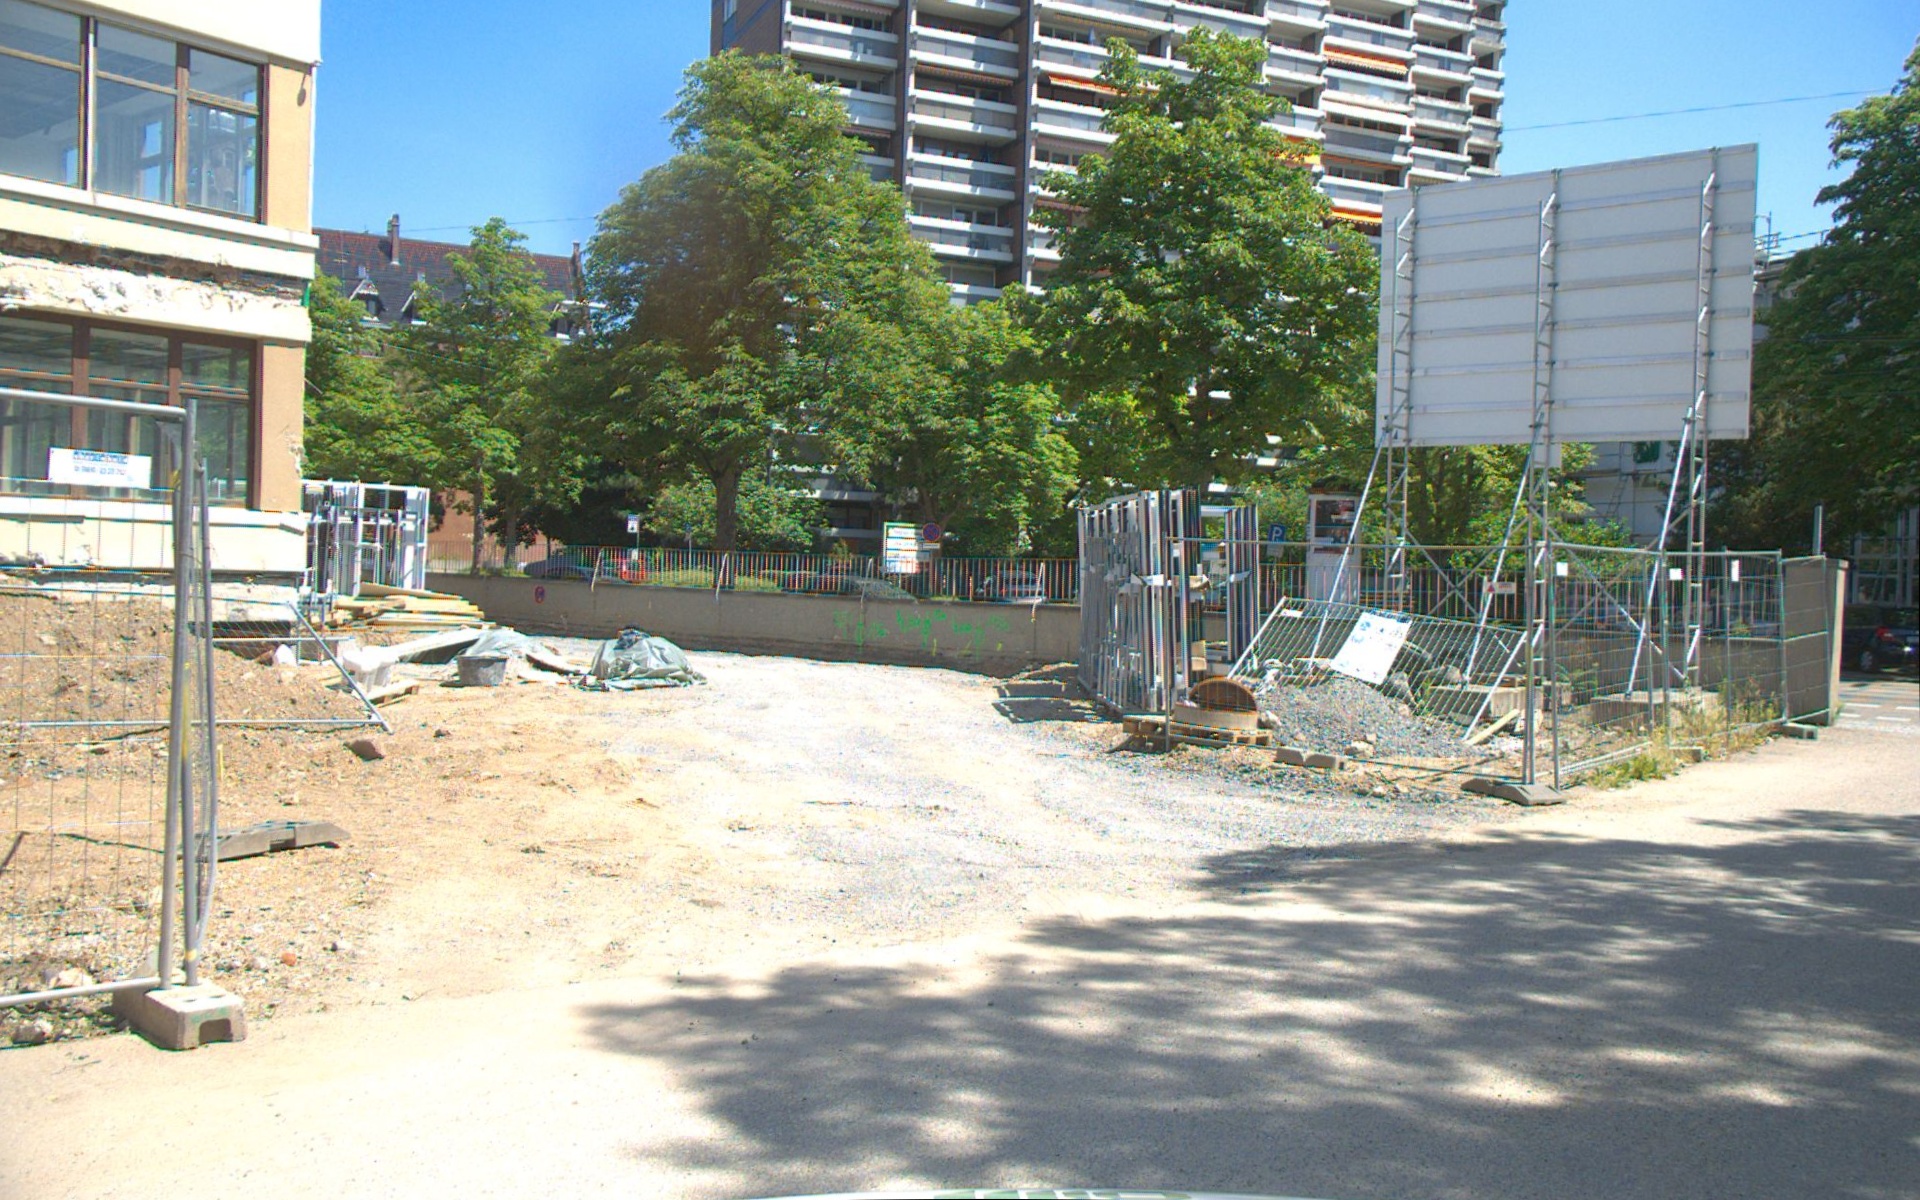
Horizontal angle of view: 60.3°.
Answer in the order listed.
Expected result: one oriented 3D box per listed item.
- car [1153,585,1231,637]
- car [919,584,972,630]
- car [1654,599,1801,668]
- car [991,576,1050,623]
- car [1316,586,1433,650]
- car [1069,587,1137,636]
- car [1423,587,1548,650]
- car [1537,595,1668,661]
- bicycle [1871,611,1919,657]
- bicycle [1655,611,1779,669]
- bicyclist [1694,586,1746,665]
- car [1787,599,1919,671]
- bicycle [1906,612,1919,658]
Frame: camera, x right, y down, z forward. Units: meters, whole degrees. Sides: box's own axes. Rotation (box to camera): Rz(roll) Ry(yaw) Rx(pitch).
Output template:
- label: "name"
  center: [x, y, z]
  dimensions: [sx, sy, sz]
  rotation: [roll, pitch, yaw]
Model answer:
- label: "car"
  center: [6.770, 0.298, 48.583]
  dimensions: [1.600, 1.411, 3.676]
  rotation: [1, 0, -2]
- label: "car"
  center: [-0.498, 0.218, 54.004]
  dimensions: [1.600, 1.411, 3.676]
  rotation: [1, 0, -2]
- label: "car"
  center: [18.215, 0.762, 39.435]
  dimensions: [1.601, 1.489, 3.675]
  rotation: [1, 0, -4]
- label: "car"
  center: [1.919, -0.040, 53.175]
  dimensions: [1.600, 1.411, 3.676]
  rotation: [1, 0, -2]
- label: "car"
  center: [10.450, 0.421, 41.975]
  dimensions: [1.602, 1.489, 3.671]
  rotation: [1, 0, -8]
- label: "car"
  center: [4.375, 0.332, 50.922]
  dimensions: [1.600, 1.411, 3.676]
  rotation: [1, 0, -2]
- label: "car"
  center: [13.323, 0.432, 42.139]
  dimensions: [1.602, 1.489, 3.671]
  rotation: [1, 0, -8]
- label: "car"
  center: [15.838, 0.662, 40.946]
  dimensions: [1.601, 1.489, 3.675]
  rotation: [1, 0, -4]
- label: "bicycle"
  center: [25.566, 0.918, 44.405]
  dimensions: [2.349, 1.178, 0.776]
  rotation: [1, 0, -28]
- label: "bicycle"
  center: [16.770, 0.871, 36.670]
  dimensions: [2.391, 1.172, 0.783]
  rotation: [2, 1, 35]
- label: "bicyclist"
  center: [16.836, 0.555, 36.627]
  dimensions: [0.882, 1.695, 0.855]
  rotation: [1, 0, 35]
- label: "car"
  center: [20.525, 0.758, 37.419]
  dimensions: [1.601, 1.489, 3.675]
  rotation: [1, 0, -4]
- label: "bicycle"
  center: [26.032, 0.939, 43.585]
  dimensions: [2.349, 1.178, 0.776]
  rotation: [1, 0, -28]
